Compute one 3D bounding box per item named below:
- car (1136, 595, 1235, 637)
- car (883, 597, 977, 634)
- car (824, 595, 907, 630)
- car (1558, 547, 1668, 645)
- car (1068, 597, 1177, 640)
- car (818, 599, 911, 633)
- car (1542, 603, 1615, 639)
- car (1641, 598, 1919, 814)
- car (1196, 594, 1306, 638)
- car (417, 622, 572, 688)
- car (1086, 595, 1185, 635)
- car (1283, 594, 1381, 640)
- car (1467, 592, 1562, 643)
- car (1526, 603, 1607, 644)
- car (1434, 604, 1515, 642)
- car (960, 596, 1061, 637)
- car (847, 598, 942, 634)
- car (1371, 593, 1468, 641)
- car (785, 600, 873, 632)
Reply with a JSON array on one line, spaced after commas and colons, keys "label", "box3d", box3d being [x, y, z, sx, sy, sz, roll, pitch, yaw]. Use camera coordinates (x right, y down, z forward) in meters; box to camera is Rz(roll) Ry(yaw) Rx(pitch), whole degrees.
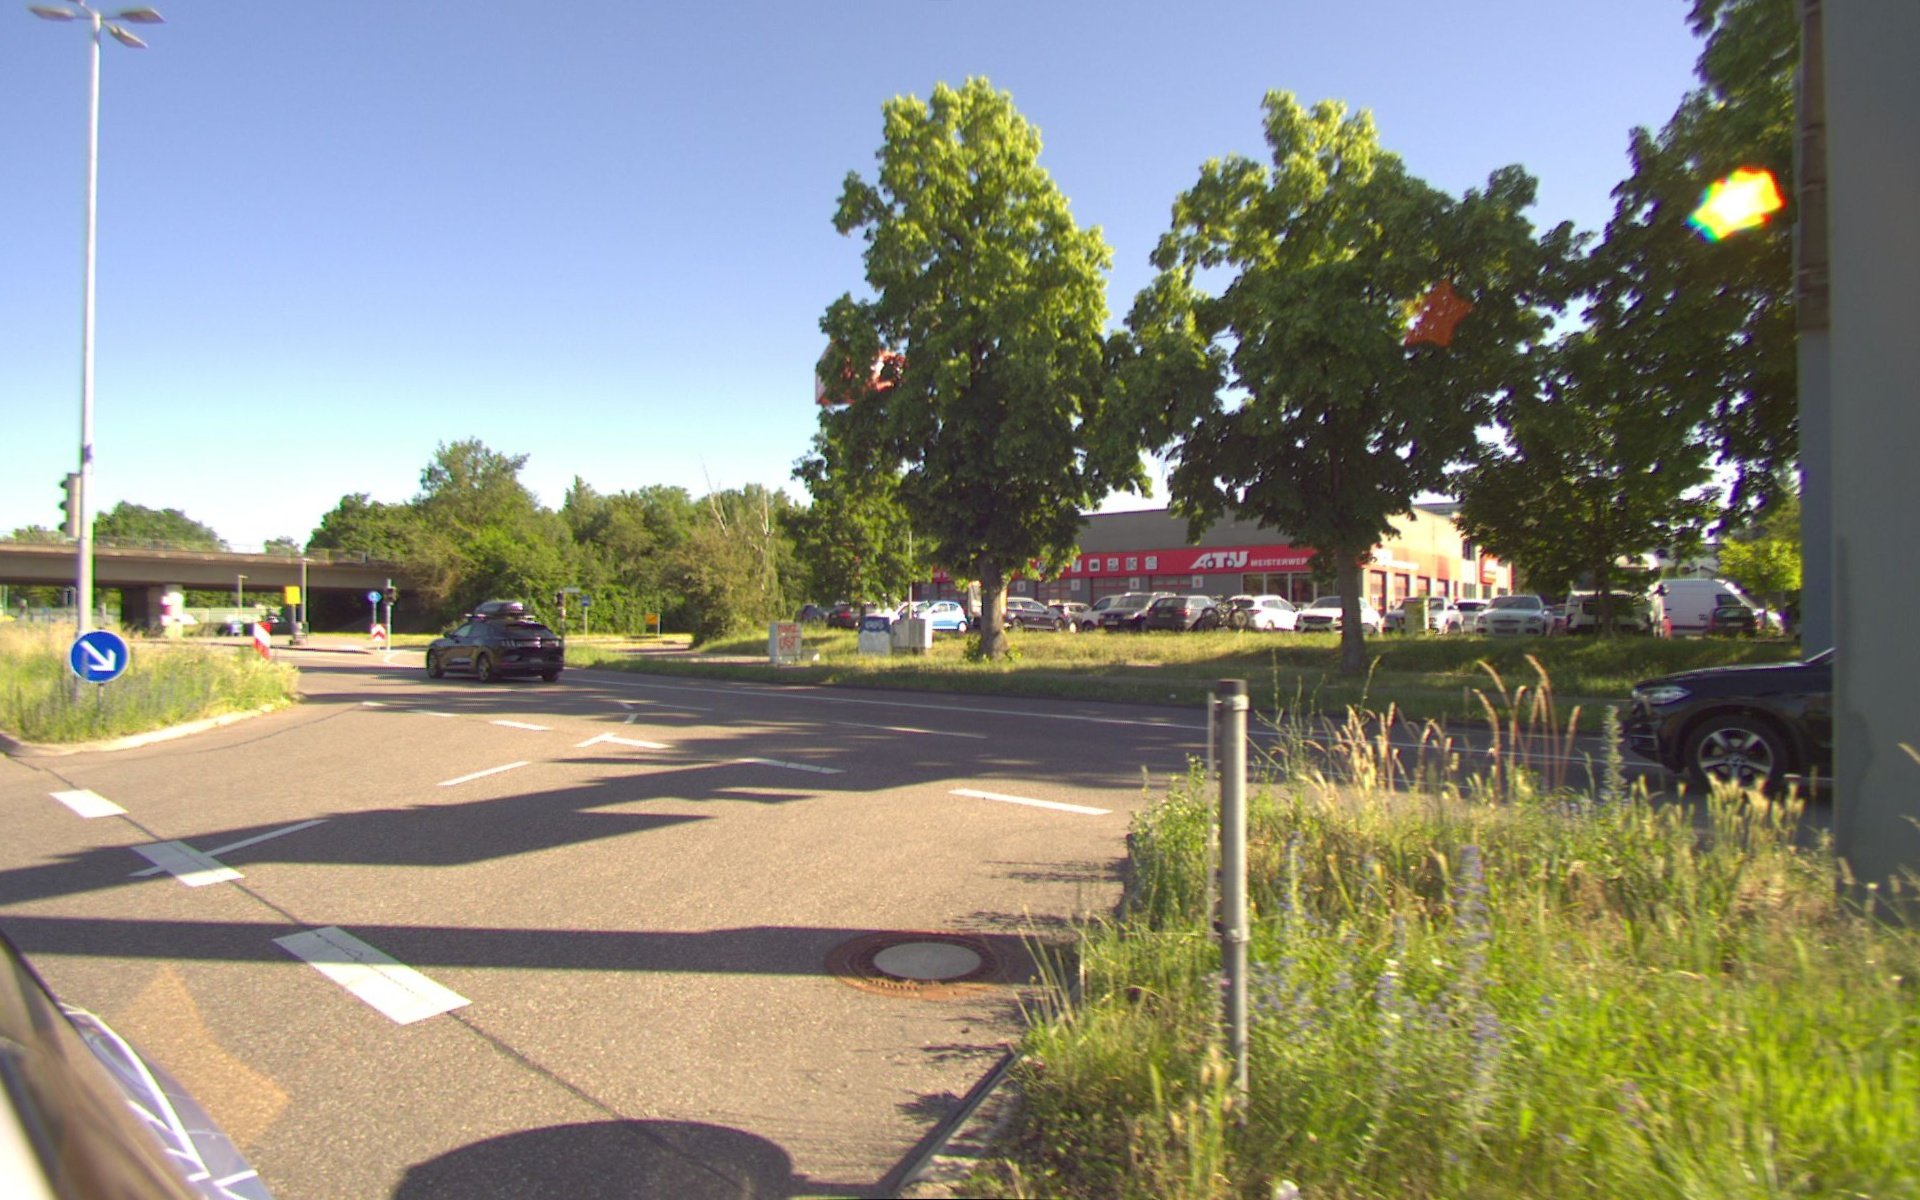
[{"label": "car", "box3d": [8.041, 0.589, 35.911, 1.943, 1.399, 4.080, -1, -2, 37]}, {"label": "car", "box3d": [-1.299, 0.731, 44.982, 1.819, 1.563, 4.071, -2, -2, 45]}, {"label": "car", "box3d": [-6.048, 0.830, 64.960, 4.988, 2.168, 1.890, 0, -2, 9]}, {"label": "car", "box3d": [18.265, -0.010, 28.160, 2.203, 2.452, 5.823, -1, -2, 36]}, {"label": "car", "box3d": [7.767, 0.894, 48.808, 5.131, 1.971, 1.759, -1, -2, 44]}, {"label": "car", "box3d": [-4.543, 0.786, 48.558, 4.064, 1.563, 1.899, 1, -2, -37]}, {"label": "car", "box3d": [26.106, 0.908, 42.683, 1.895, 1.466, 4.073, -1, -2, 42]}, {"label": "car", "box3d": [8.595, 0.870, 8.462, 4.626, 1.710, 1.922, -2, -4, 40]}, {"label": "car", "box3d": [10.063, 0.571, 34.764, 1.945, 1.399, 4.572, -1, -2, 40]}, {"label": "car", "box3d": [-12.000, 1.372, 25.967, 4.569, 1.554, 1.857, -1, -3, 41]}, {"label": "car", "box3d": [6.596, 0.599, 37.763, 1.944, 1.399, 4.077, -1, -2, 39]}, {"label": "car", "box3d": [12.171, 0.572, 32.946, 1.943, 1.399, 4.080, -1, -2, 36]}, {"label": "car", "box3d": [16.565, 0.546, 30.159, 1.943, 1.399, 4.080, -1, -2, 36]}, {"label": "car", "box3d": [23.120, 0.917, 38.513, 1.895, 1.466, 4.073, -1, -2, 42]}, {"label": "car", "box3d": [20.627, 0.928, 40.499, 1.895, 1.466, 4.073, -1, -2, 42]}, {"label": "car", "box3d": [2.081, 0.708, 40.768, 1.946, 1.563, 4.073, -1, -2, 43]}, {"label": "car", "box3d": [-2.984, 0.772, 46.667, 4.066, 1.563, 1.899, 1, -2, -39]}, {"label": "car", "box3d": [14.431, 0.559, 31.673, 1.943, 1.399, 4.080, -1, -2, 36]}, {"label": "car", "box3d": [-6.705, 0.843, 51.812, 4.060, 1.563, 1.901, 1, -2, -28]}]
